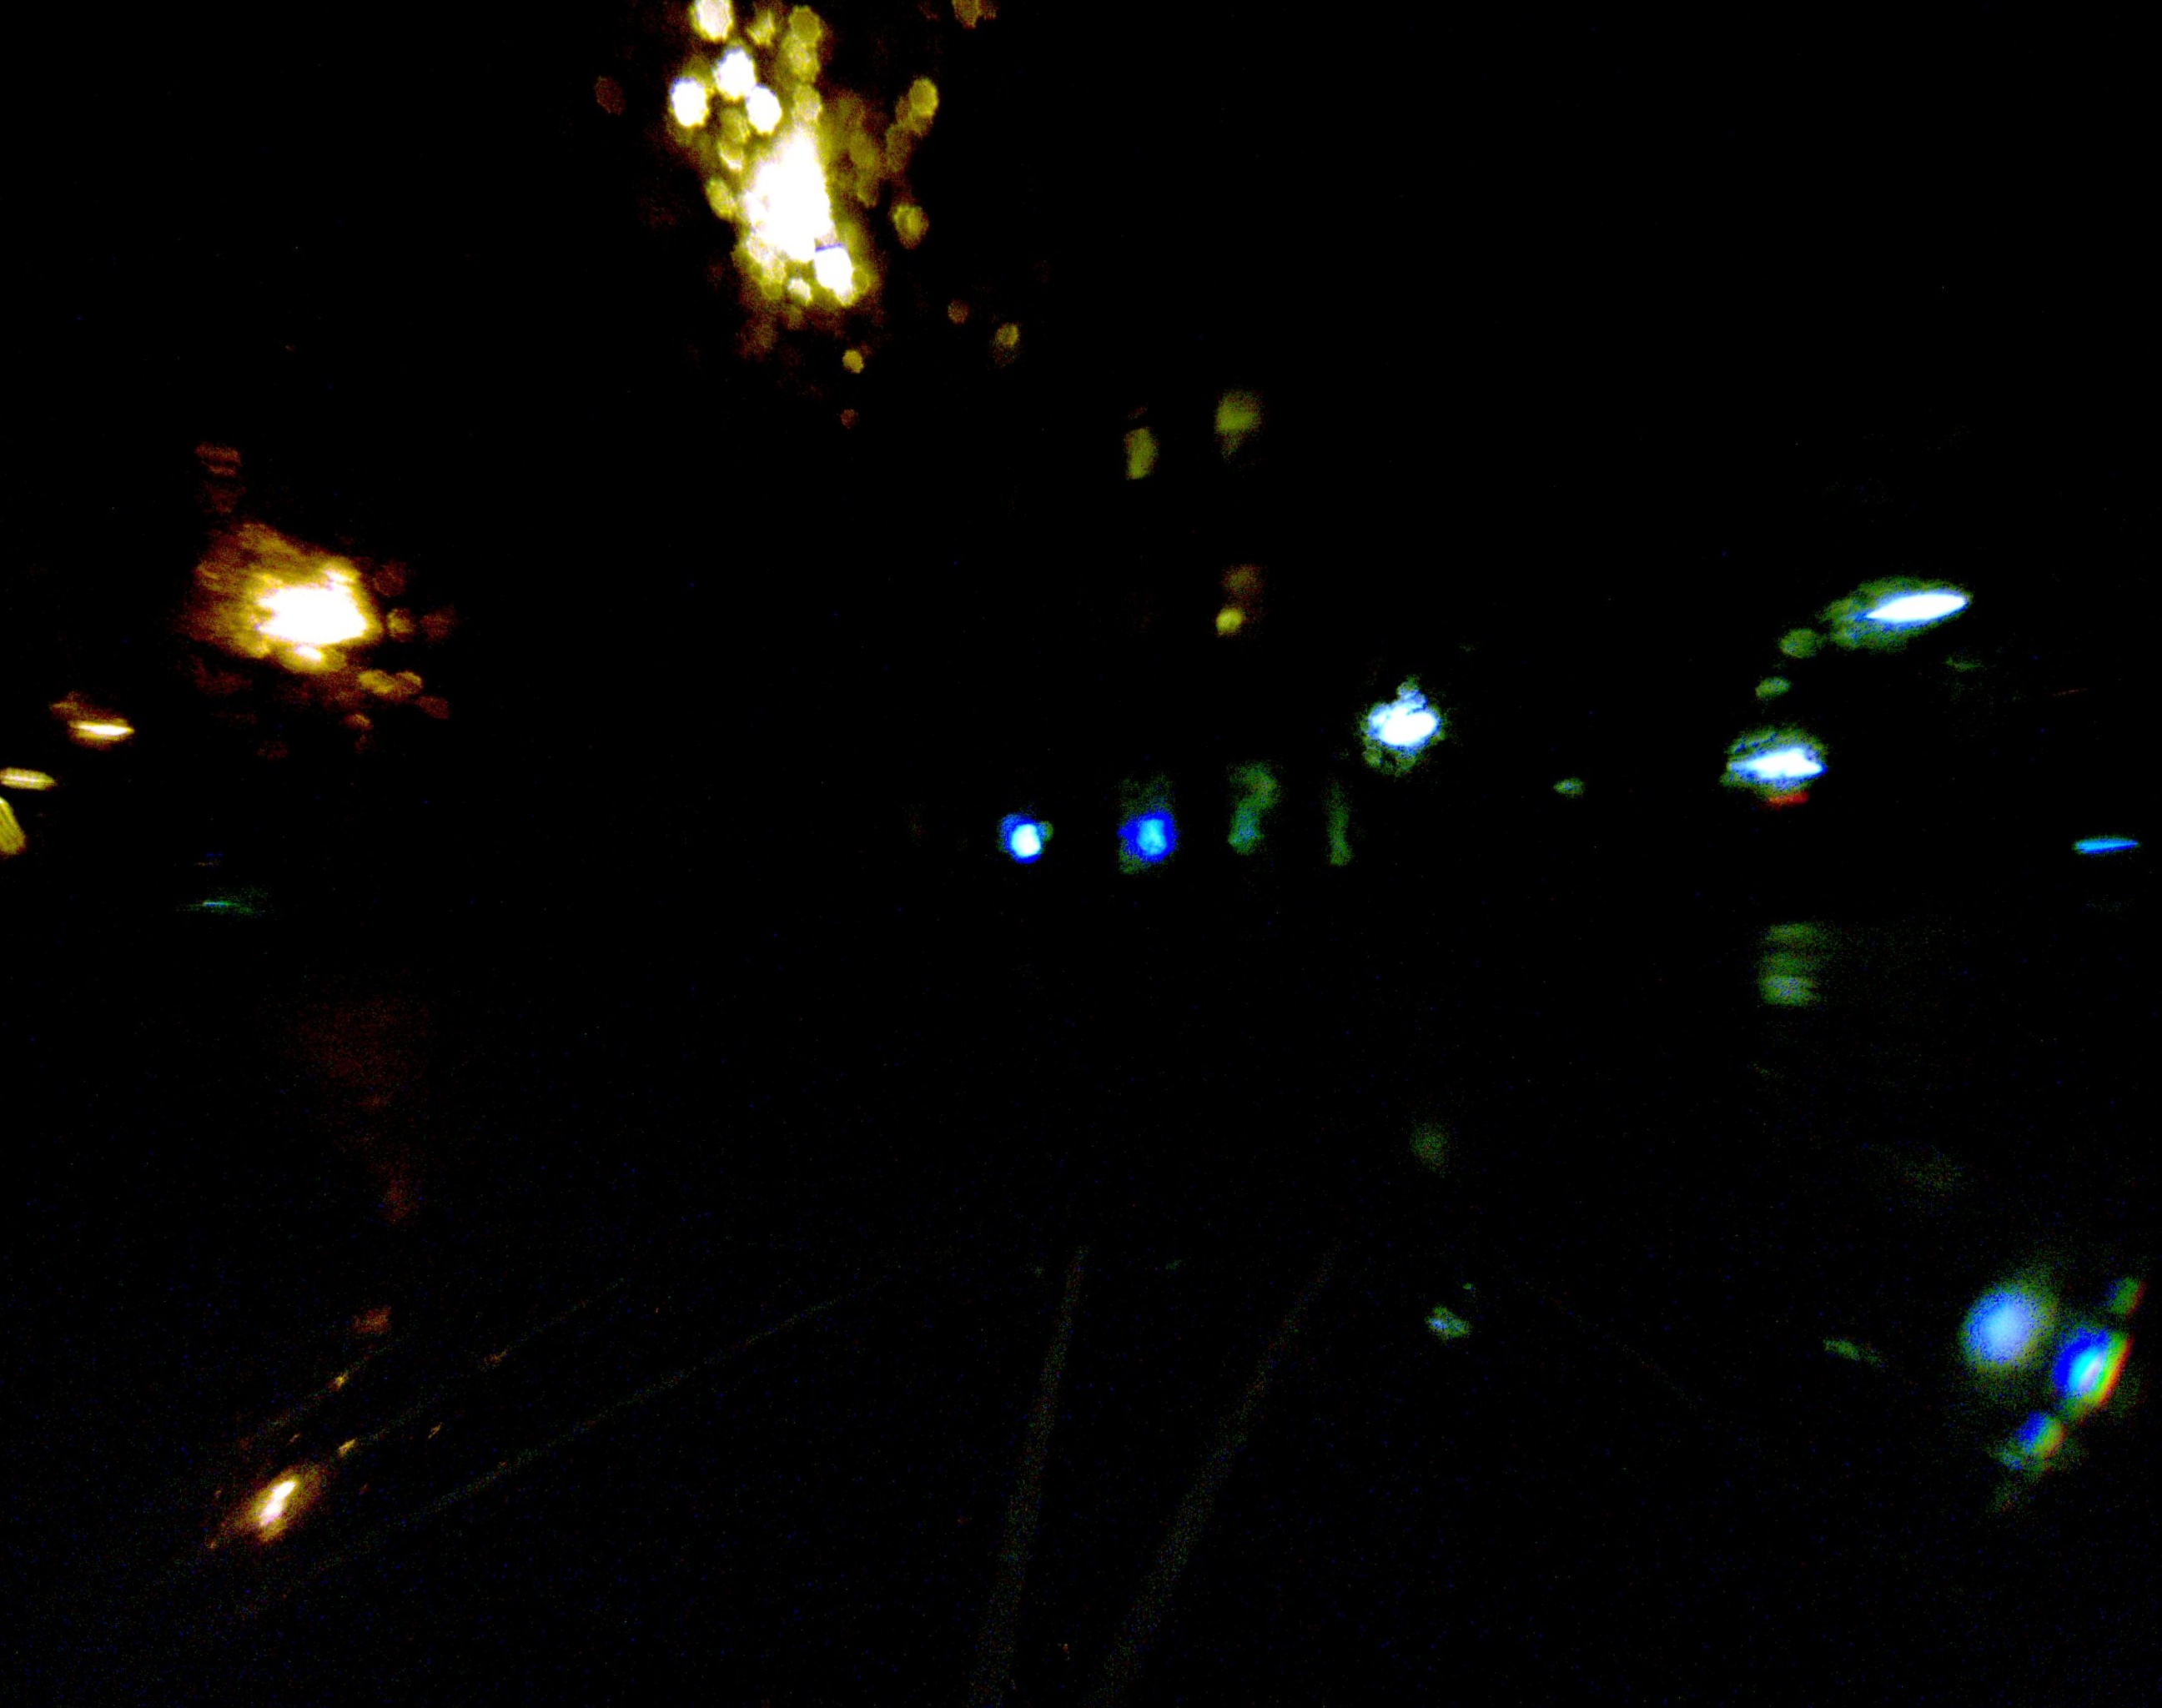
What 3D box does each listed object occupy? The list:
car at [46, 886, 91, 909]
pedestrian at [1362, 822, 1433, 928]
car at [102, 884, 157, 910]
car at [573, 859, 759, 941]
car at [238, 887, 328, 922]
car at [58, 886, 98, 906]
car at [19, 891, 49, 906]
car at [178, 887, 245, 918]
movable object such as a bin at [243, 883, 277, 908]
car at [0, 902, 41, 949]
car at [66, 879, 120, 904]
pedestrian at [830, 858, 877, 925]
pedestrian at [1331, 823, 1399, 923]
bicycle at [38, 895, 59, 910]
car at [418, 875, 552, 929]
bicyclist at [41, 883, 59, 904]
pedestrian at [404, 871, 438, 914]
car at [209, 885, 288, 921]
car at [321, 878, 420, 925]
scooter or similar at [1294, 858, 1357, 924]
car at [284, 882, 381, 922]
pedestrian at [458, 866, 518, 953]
[{"bbox_3d":[-89.189,3.807,66.938,4.816,1.819,1.912,-2,1,32],"label":"car"},{"bbox_3d":[5.729,0.357,13.756,0.948,1.811,0.692,-4,3,-27],"label":"pedestrian"},{"bbox_3d":[-65.921,2.968,52.621,4.759,1.475,1.775,-2,4,32],"label":"car"},{"bbox_3d":[-10.081,1.069,18.355,4.582,1.707,1.842,-2,1,32],"label":"car"},{"bbox_3d":[-35.905,2.247,34.163,4.414,1.381,1.831,-2,1,32],"label":"car"},{"bbox_3d":[-81.708,3.435,61.897,3.710,1.451,1.577,-2,1,32],"label":"car"},{"bbox_3d":[-109.353,4.657,79.355,3.374,1.445,1.535,-2,1,32],"label":"car"},{"bbox_3d":[-46.529,2.578,40.629,3.712,1.483,1.680,-2,2,32],"label":"car"},{"bbox_3d":[-50.751,2.558,46.976,1.375,1.445,1.107,-2,0,30],"label":"movable object such as a bin"},{"bbox_3d":[-35.195,2.302,24.255,3.989,1.403,1.927,-2,0,31],"label":"car"},{"bbox_3d":[-76.617,2.908,58.882,5.192,1.819,2.006,-2,1,32],"label":"car"},{"bbox_3d":[-5.563,0.913,18.597,0.761,1.544,0.658,-2,3,17],"label":"pedestrian"},{"bbox_3d":[5.420,0.340,14.513,0.947,1.811,0.693,-4,3,-22],"label":"pedestrian"},{"bbox_3d":[-78.654,3.699,57.885,2.342,1.066,0.731,-2,0,32],"label":"bicycle"},{"bbox_3d":[-19.006,1.478,24.182,4.582,1.478,1.842,-2,1,32],"label":"car"},{"bbox_3d":[-78.637,3.012,57.942,0.893,1.547,0.722,-2,0,32],"label":"bicyclist"},{"bbox_3d":[-28.352,1.643,32.626,0.984,1.794,0.746,-1,4,35],"label":"pedestrian"},{"bbox_3d":[-40.609,2.352,37.046,4.123,1.563,1.783,-2,1,32],"label":"car"},{"bbox_3d":[-27.284,1.786,29.162,3.755,1.579,1.754,-2,1,32],"label":"car"},{"bbox_3d":[4.557,0.664,14.153,0.933,1.120,0.571,-4,3,-21],"label":"scooter or similar"},{"bbox_3d":[-31.135,1.967,31.591,4.295,1.472,1.842,-2,1,32],"label":"car"},{"bbox_3d":[-14.068,1.289,18.032,0.656,1.963,0.771,-2,3,25],"label":"pedestrian"}]
